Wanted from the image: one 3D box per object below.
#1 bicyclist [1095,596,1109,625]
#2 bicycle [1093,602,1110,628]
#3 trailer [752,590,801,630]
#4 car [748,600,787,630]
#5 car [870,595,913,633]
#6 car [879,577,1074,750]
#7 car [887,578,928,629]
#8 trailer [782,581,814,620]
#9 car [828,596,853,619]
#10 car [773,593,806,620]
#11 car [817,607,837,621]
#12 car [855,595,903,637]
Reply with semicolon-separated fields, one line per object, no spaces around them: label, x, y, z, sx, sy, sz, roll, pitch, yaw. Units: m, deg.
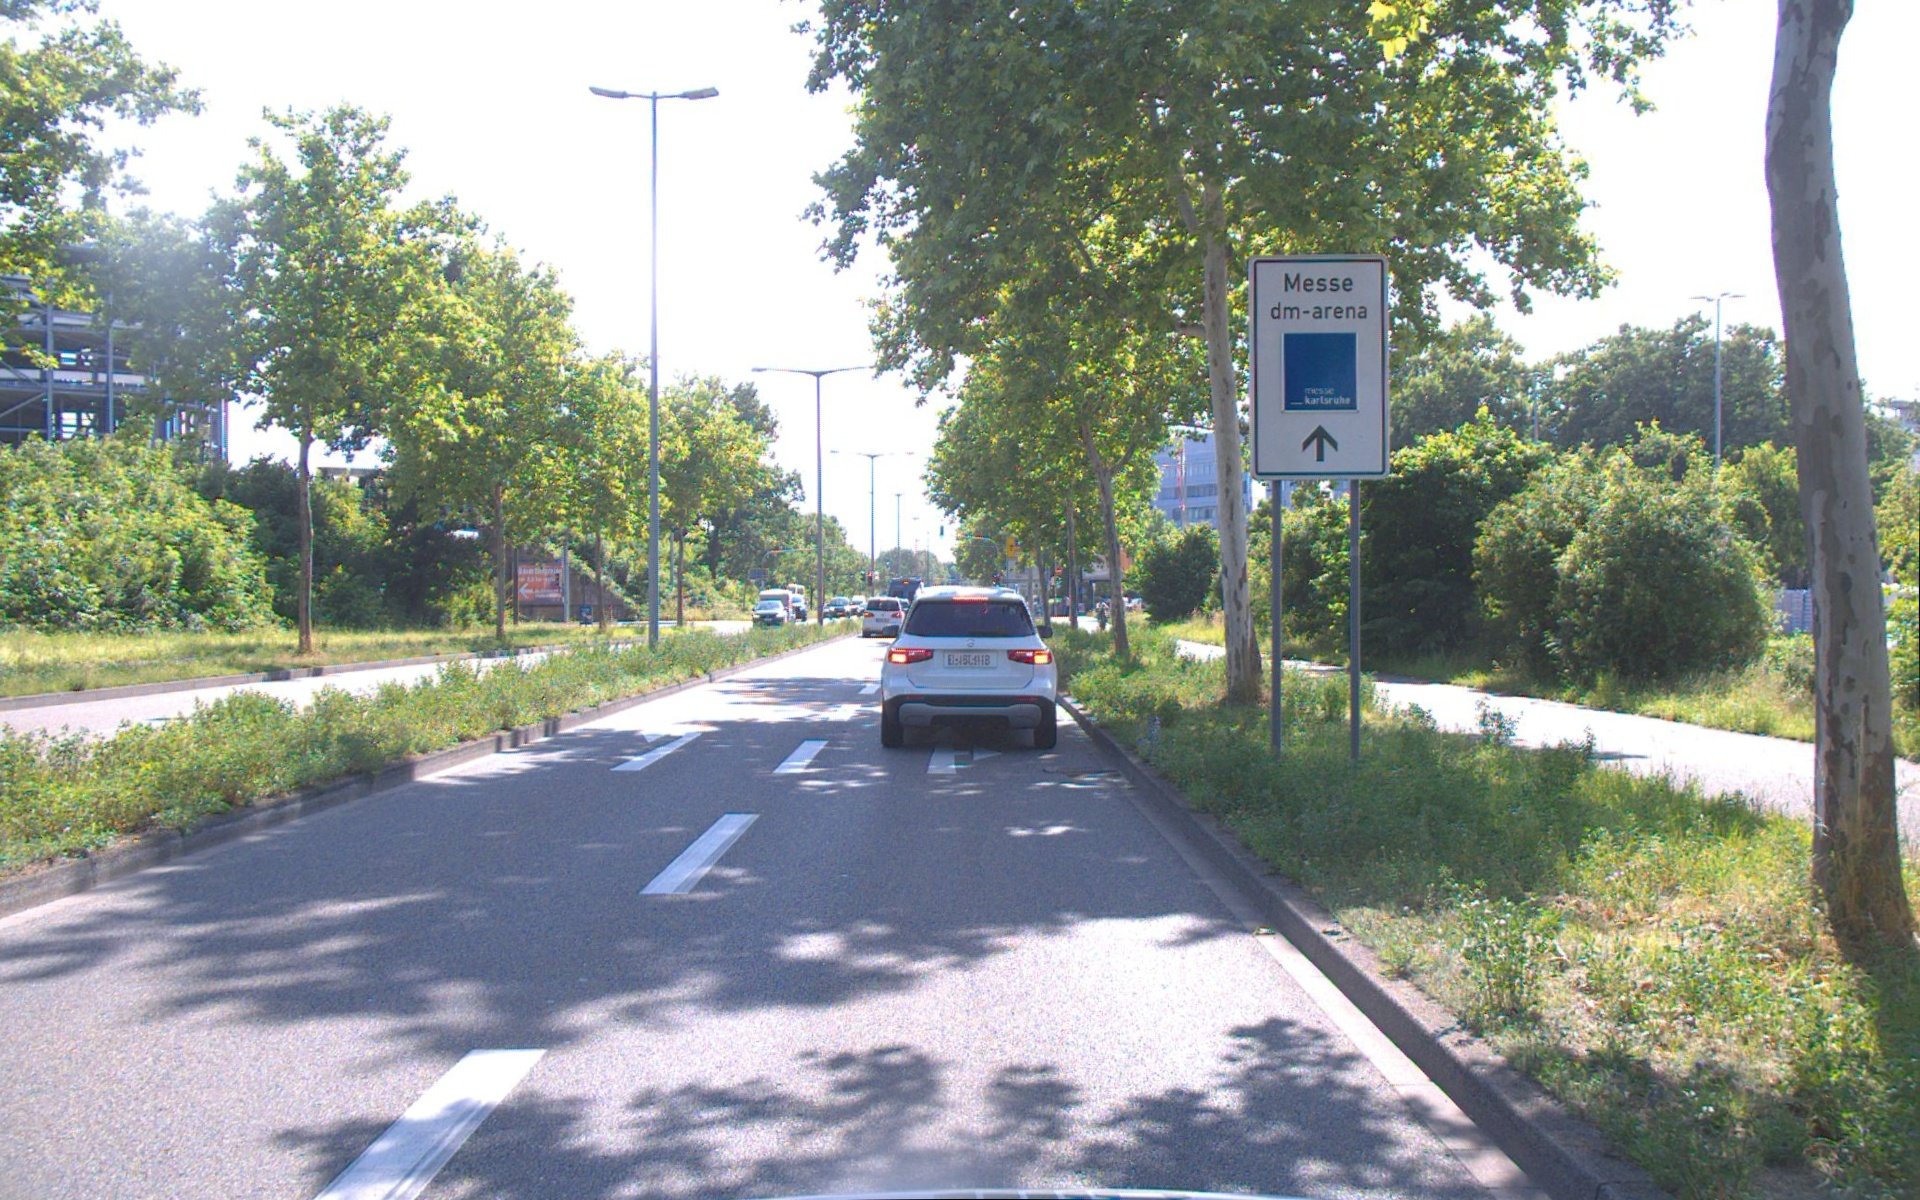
bicyclist;7.505;0.564;87.498;0.689;1.503;1.010;1;-1;1
bicycle;7.485;0.796;87.500;0.708;1.321;2.095;1;0;1
trailer;-11.038;0.609;100.029;2.261;2.305;5.538;0;0;1
car;-11.051;0.858;95.072;1.680;1.650;4.361;0;0;1
car;-3.108;0.633;75.429;1.735;1.676;4.084;1;0;1
car;0.062;0.629;18.095;1.817;1.635;3.997;2;0;-3
car;-2.867;0.195;91.549;2.038;2.703;4.874;1;0;1
trailer;-12.097;0.049;123.856;1.841;2.792;4.829;1;0;1
car;-9.806;0.637;135.907;1.695;1.841;4.232;1;0;1
car;-12.253;0.472;118.979;1.728;1.821;5.376;1;0;1
car;-13.080;1.371;162.672;1.666;1.389;3.645;1;0;-1
car;-3.350;0.675;69.140;1.735;1.676;4.352;1;0;1
